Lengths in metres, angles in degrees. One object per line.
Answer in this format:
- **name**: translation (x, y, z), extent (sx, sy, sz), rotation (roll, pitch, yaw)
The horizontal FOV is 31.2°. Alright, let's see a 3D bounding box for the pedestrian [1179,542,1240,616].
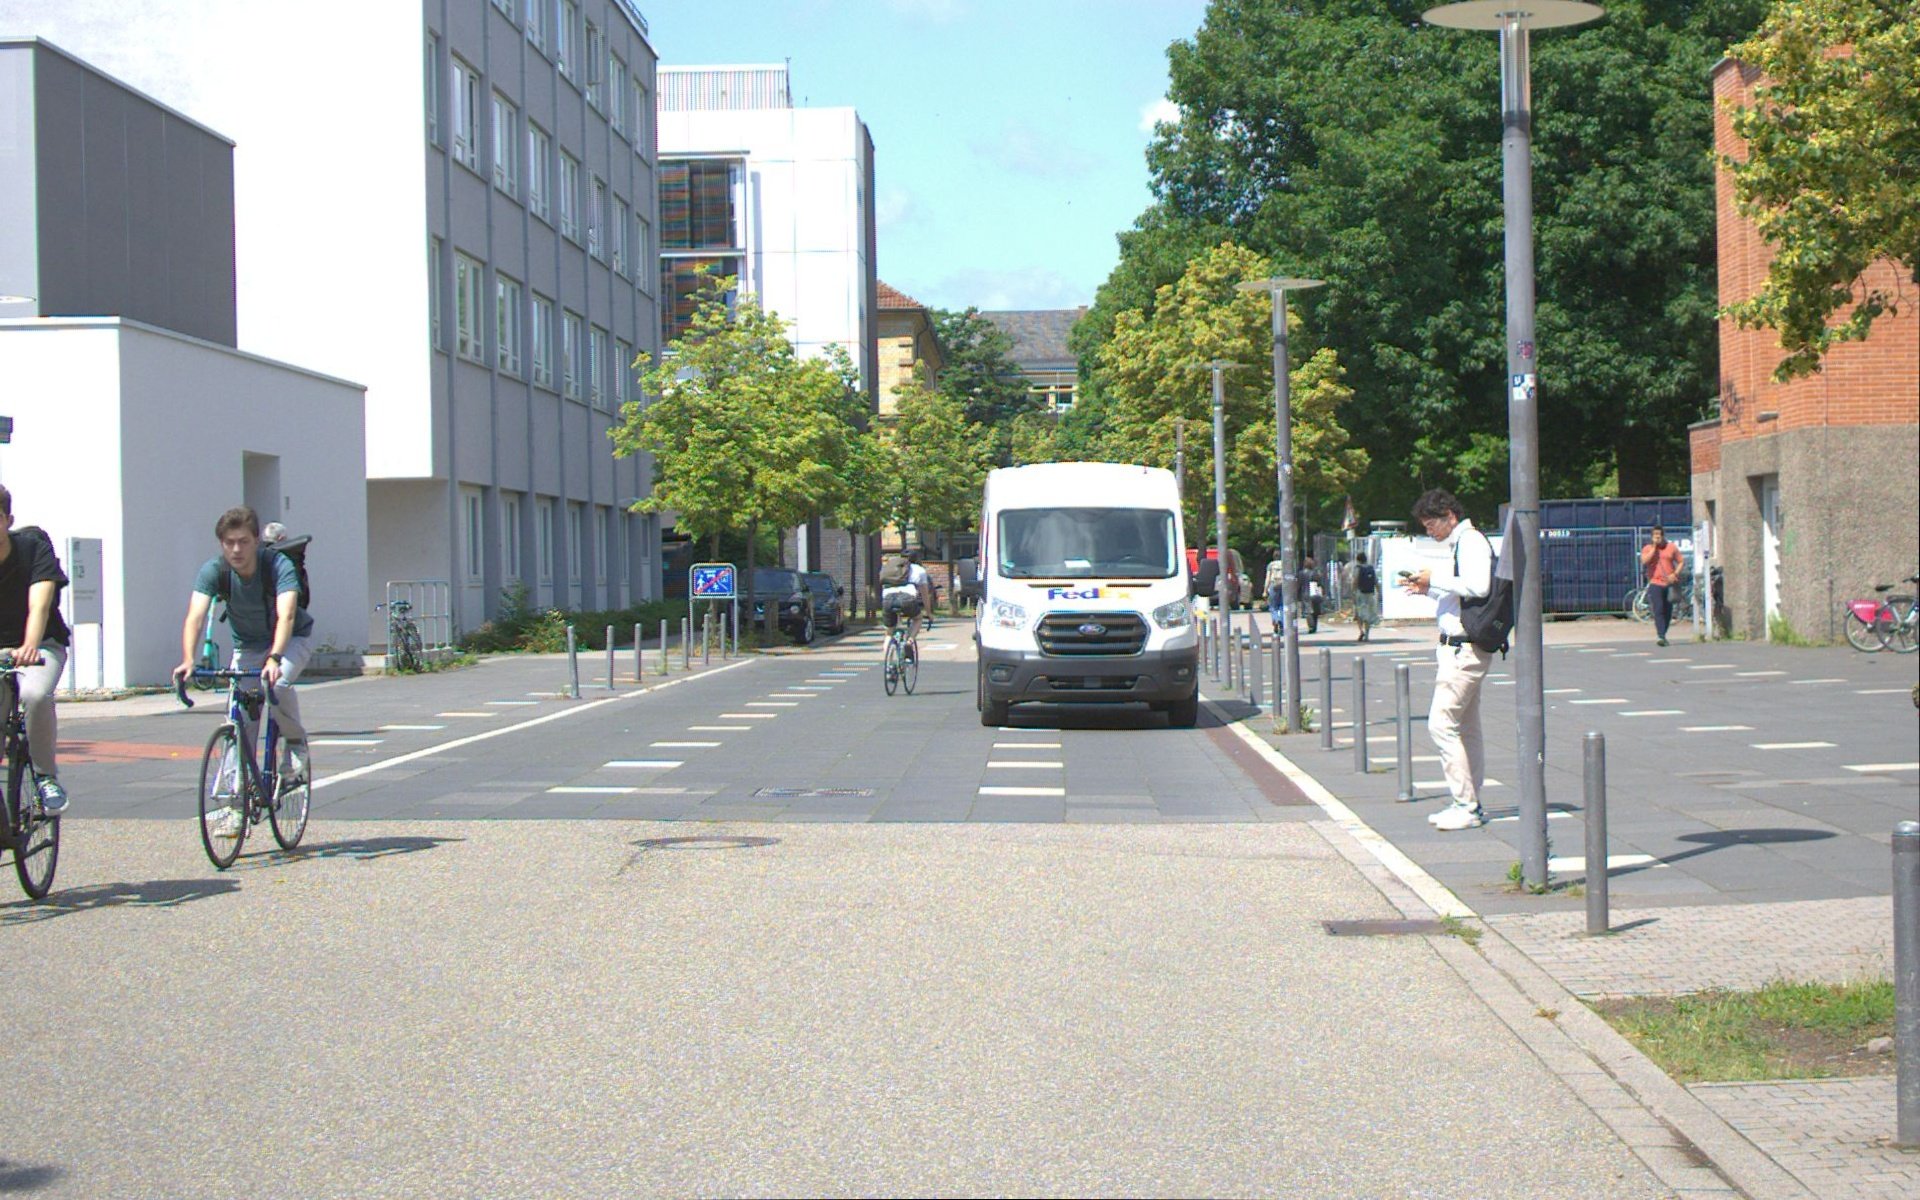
- **pedestrian**: translation (7.138, -0.615, 98.429), extent (1.499, 1.989, 1.646), rotation (-4, 1, 0)

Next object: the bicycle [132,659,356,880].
- **bicycle**: translation (-3.494, 0.802, 16.929), extent (0.677, 0.961, 2.003), rotation (0, 1, 0)

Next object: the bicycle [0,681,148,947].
- **bicycle**: translation (-3.974, 0.857, 14.410), extent (0.677, 0.961, 2.003), rotation (0, 1, -1)

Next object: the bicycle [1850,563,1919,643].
- **bicycle**: translation (12.498, 0.014, 44.420), extent (1.809, 0.981, 0.560), rotation (-3, 1, 1)

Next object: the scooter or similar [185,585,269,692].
- **scooter or similar**: translation (-8.565, 0.442, 40.210), extent (0.378, 1.212, 1.204), rotation (-1, 1, 18)

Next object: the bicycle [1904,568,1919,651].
- **bicycle**: translation (12.370, 0.078, 41.380), extent (1.809, 0.981, 0.560), rotation (-3, 1, 1)

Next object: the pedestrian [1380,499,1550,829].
- **pedestrian**: translation (2.715, 0.333, 18.556), extent (0.702, 1.689, 0.962), rotation (-4, 0, 2)

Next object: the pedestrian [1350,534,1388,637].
- **pedestrian**: translation (7.459, -0.262, 62.752), extent (0.576, 1.853, 0.570), rotation (-1, 1, 0)

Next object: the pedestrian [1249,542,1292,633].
- **pedestrian**: translation (6.434, -0.266, 71.312), extent (0.790, 1.853, 1.243), rotation (-1, 1, 3)

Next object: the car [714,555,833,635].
- **car**: translation (-3.743, -0.120, 69.580), extent (1.796, 1.525, 3.999), rotation (-1, 1, 6)

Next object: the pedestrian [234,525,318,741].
- **pedestrian**: translation (-5.765, 0.275, 28.983), extent (0.666, 1.779, 0.985), rotation (-1, -1, -11)

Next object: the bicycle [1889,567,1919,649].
- **bicycle**: translation (12.369, 0.059, 42.086), extent (1.809, 0.981, 0.560), rotation (-3, 1, 1)

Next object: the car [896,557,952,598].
- **car**: translation (-1.411, -0.908, 136.190), extent (1.796, 1.525, 3.999), rotation (-1, 1, 6)

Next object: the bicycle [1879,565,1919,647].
- **bicycle**: translation (12.404, 0.041, 42.649), extent (1.809, 0.981, 0.560), rotation (-3, 1, 1)

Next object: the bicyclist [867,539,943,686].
- **bicyclist**: translation (-0.642, 0.133, 40.450), extent (0.717, 1.656, 1.095), rotation (-3, 2, 4)

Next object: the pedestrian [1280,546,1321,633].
- **pedestrian**: translation (7.422, -0.233, 74.900), extent (0.790, 1.853, 1.025), rotation (-1, 1, 3)

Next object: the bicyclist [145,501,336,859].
- **bicyclist**: translation (-3.502, 0.370, 16.801), extent (0.667, 1.676, 0.993), rotation (-2, 1, 0)

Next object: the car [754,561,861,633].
- **car**: translation (-3.384, -0.091, 76.986), extent (1.796, 1.525, 3.999), rotation (-1, 1, 6)

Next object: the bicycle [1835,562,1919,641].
- **bicycle**: translation (12.551, 0.005, 45.381), extent (1.809, 0.981, 0.560), rotation (-3, 1, 1)

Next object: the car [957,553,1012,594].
- **car**: translation (0.986, -1.057, 135.212), extent (1.796, 1.525, 3.999), rotation (-1, 1, 6)

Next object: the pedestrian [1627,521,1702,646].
- **pedestrian**: translation (10.671, -0.254, 52.091), extent (0.851, 1.853, 1.116), rotation (-1, 1, 0)

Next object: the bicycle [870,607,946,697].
- **bicycle**: translation (-0.604, 0.598, 40.602), extent (0.706, 0.990, 1.910), rotation (0, 1, 5)

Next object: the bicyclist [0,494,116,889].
- **bicyclist**: translation (-4.005, 0.375, 14.424), extent (0.643, 1.596, 0.909), rotation (-2, 1, 0)

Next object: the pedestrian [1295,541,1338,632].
- **pedestrian**: translation (7.366, -0.288, 71.079), extent (0.790, 1.853, 1.025), rotation (-1, 1, 3)

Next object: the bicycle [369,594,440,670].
- **bicycle**: translation (-7.695, 0.432, 47.636), extent (0.523, 0.981, 1.632), rotation (-3, 1, 6)

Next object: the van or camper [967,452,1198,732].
- **van or camper**: translation (1.172, -0.074, 32.689), extent (1.994, 2.437, 4.569), rotation (-1, 0, 2)
